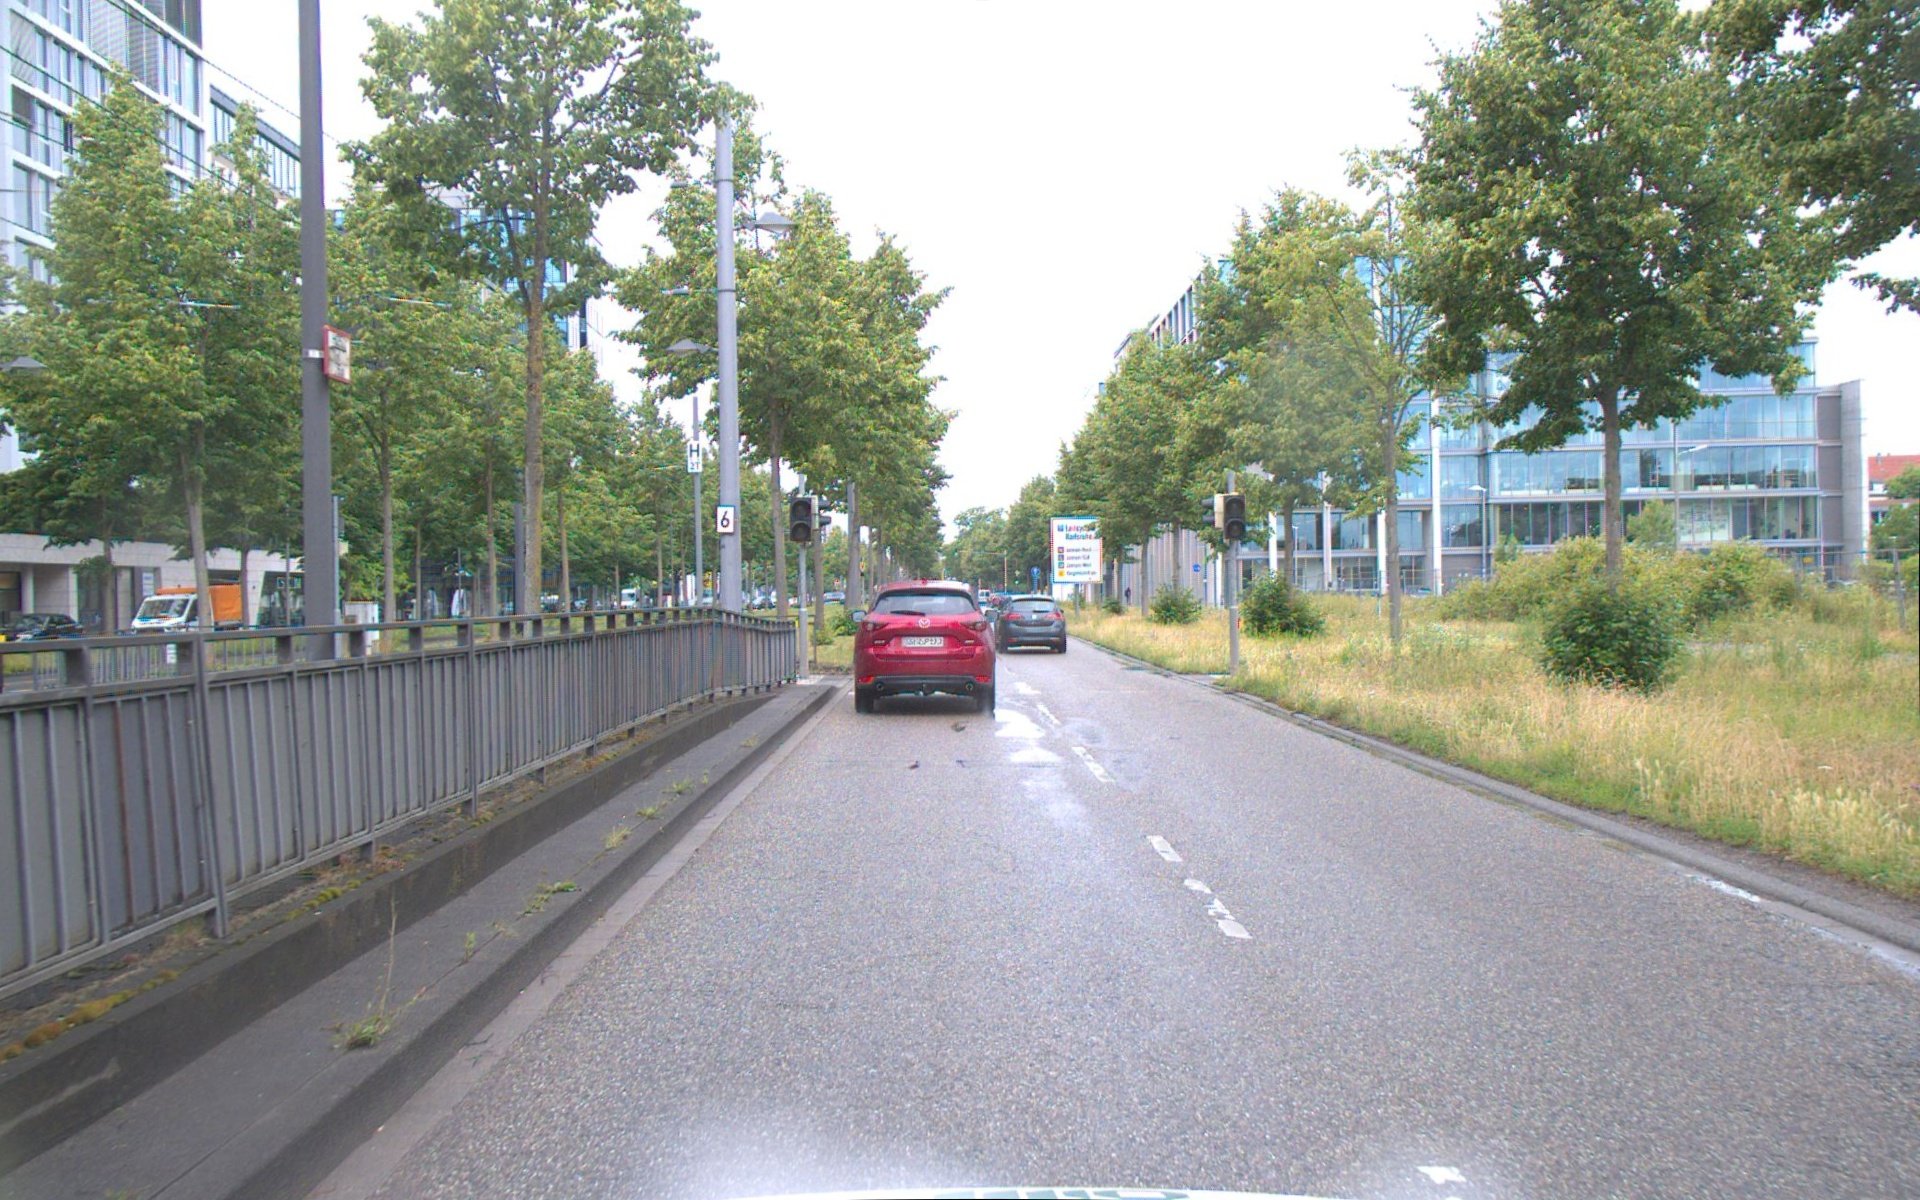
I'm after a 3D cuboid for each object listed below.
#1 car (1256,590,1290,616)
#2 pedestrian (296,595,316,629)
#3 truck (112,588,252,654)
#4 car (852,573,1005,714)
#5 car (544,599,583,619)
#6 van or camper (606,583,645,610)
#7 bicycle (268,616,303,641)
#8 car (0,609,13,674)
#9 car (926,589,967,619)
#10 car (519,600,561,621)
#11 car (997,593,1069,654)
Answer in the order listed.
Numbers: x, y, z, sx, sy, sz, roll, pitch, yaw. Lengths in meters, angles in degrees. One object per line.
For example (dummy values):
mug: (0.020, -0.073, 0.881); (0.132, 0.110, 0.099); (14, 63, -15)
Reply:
car: (19.869, 0.200, 105.048); (1.815, 1.608, 4.003); (-1, 0, 6)
pedestrian: (-38.675, 0.710, 97.867); (0.777, 2.016, 0.856); (-1, 0, 7)
truck: (-29.326, 0.761, 62.623); (2.377, 2.331, 6.307); (-1, 0, -1)
car: (-0.431, 0.525, 22.236); (1.860, 1.706, 3.999); (-1, 0, -1)
car: (-29.425, 0.657, 122.841); (1.953, 1.402, 3.999); (-1, 0, -1)
van or camper: (-30.136, -0.306, 149.083); (2.383, 2.356, 5.849); (-1, 0, -1)
bicycle: (-27.082, 1.154, 66.407); (0.586, 0.961, 1.758); (-1, 0, 3)
car: (-28.654, 1.214, 45.818); (1.953, 1.884, 5.163); (-1, 0, -1)
car: (-0.692, 0.195, 83.779); (1.928, 1.462, 4.550); (1, 0, -2)
car: (-29.456, 0.695, 116.127); (1.953, 1.402, 3.999); (-1, 0, -1)
car: (1.849, 0.566, 42.724); (1.708, 1.490, 3.781); (-1, 0, 0)
